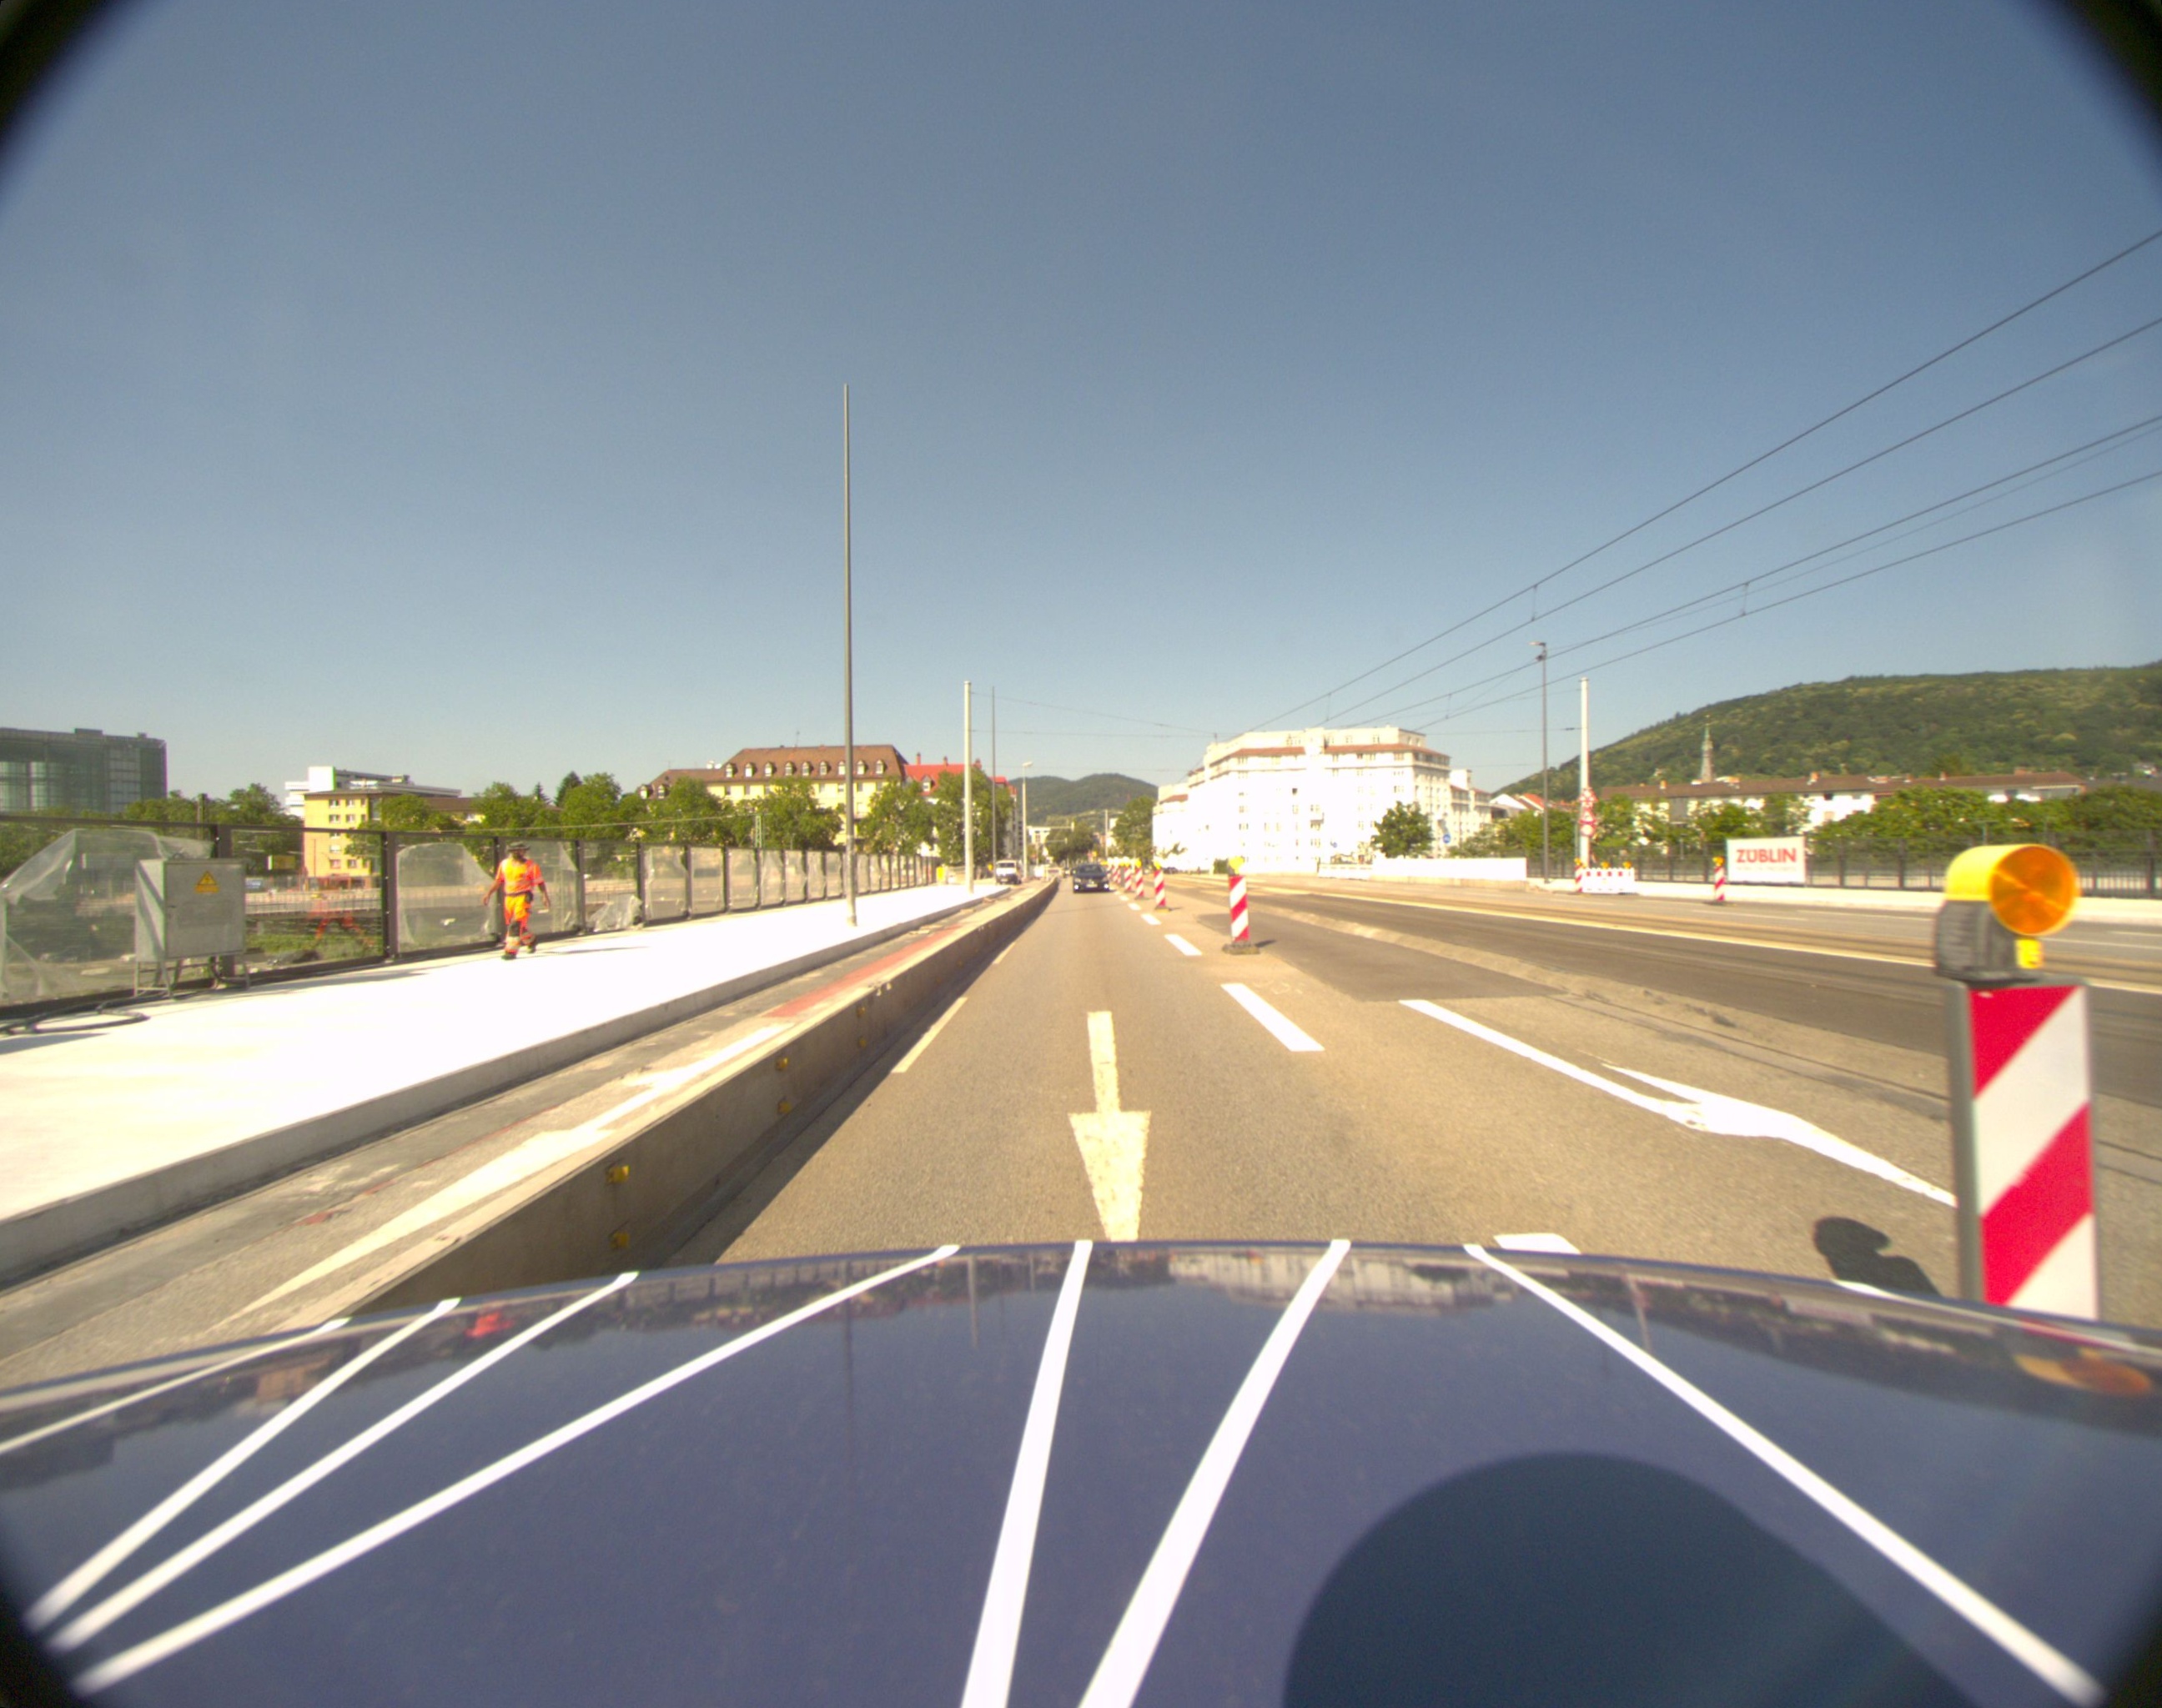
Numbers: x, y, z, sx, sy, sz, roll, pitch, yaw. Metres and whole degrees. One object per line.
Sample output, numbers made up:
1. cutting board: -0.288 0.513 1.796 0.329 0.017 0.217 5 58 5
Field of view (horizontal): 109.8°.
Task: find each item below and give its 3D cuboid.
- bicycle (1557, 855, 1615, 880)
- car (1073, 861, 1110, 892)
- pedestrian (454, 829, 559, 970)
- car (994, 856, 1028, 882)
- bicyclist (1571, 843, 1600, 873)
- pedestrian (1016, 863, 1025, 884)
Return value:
1. bicycle: 25.779 0.685 38.879 0.858 1.188 3.072 -2 0 0
2. car: 0.513 1.104 38.792 1.698 1.388 4.362 -2 0 0
3. pedestrian: -8.291 0.631 11.011 0.733 1.953 1.016 0 1 1
4. car: -5.752 1.230 63.290 1.938 2.078 6.472 -1 -1 2
5. bicyclist: 25.761 0.194 38.808 0.858 1.510 0.817 -2 1 -1
6. pedestrian: -5.776 1.833 72.979 0.761 1.973 0.843 0 1 0
